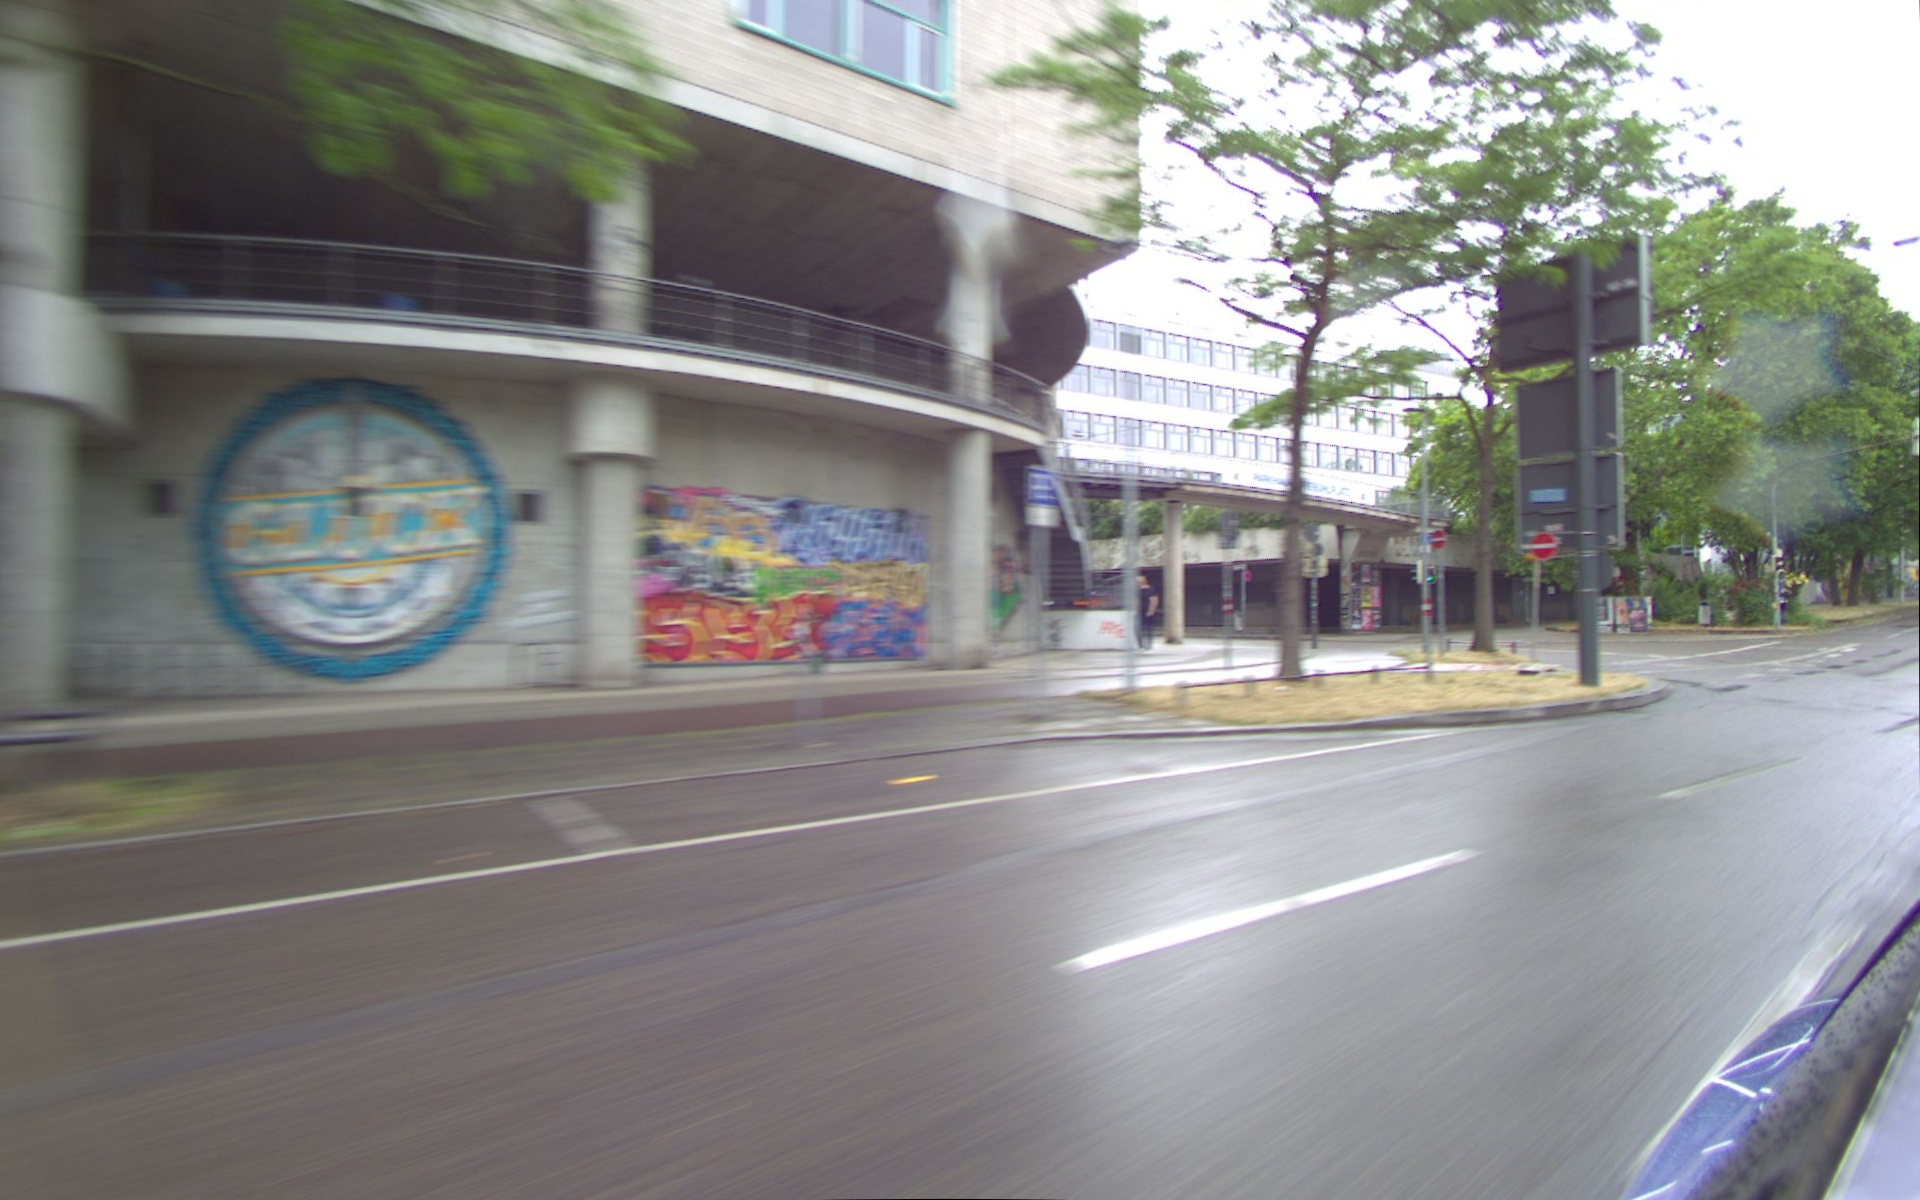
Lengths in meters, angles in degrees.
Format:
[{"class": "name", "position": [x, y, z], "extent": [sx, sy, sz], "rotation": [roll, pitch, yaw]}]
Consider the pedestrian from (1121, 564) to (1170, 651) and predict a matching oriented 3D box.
[{"class": "pedestrian", "position": [4.449, 0.168, 24.274], "extent": [0.745, 2.039, 0.870], "rotation": [0, -1, -40]}]
